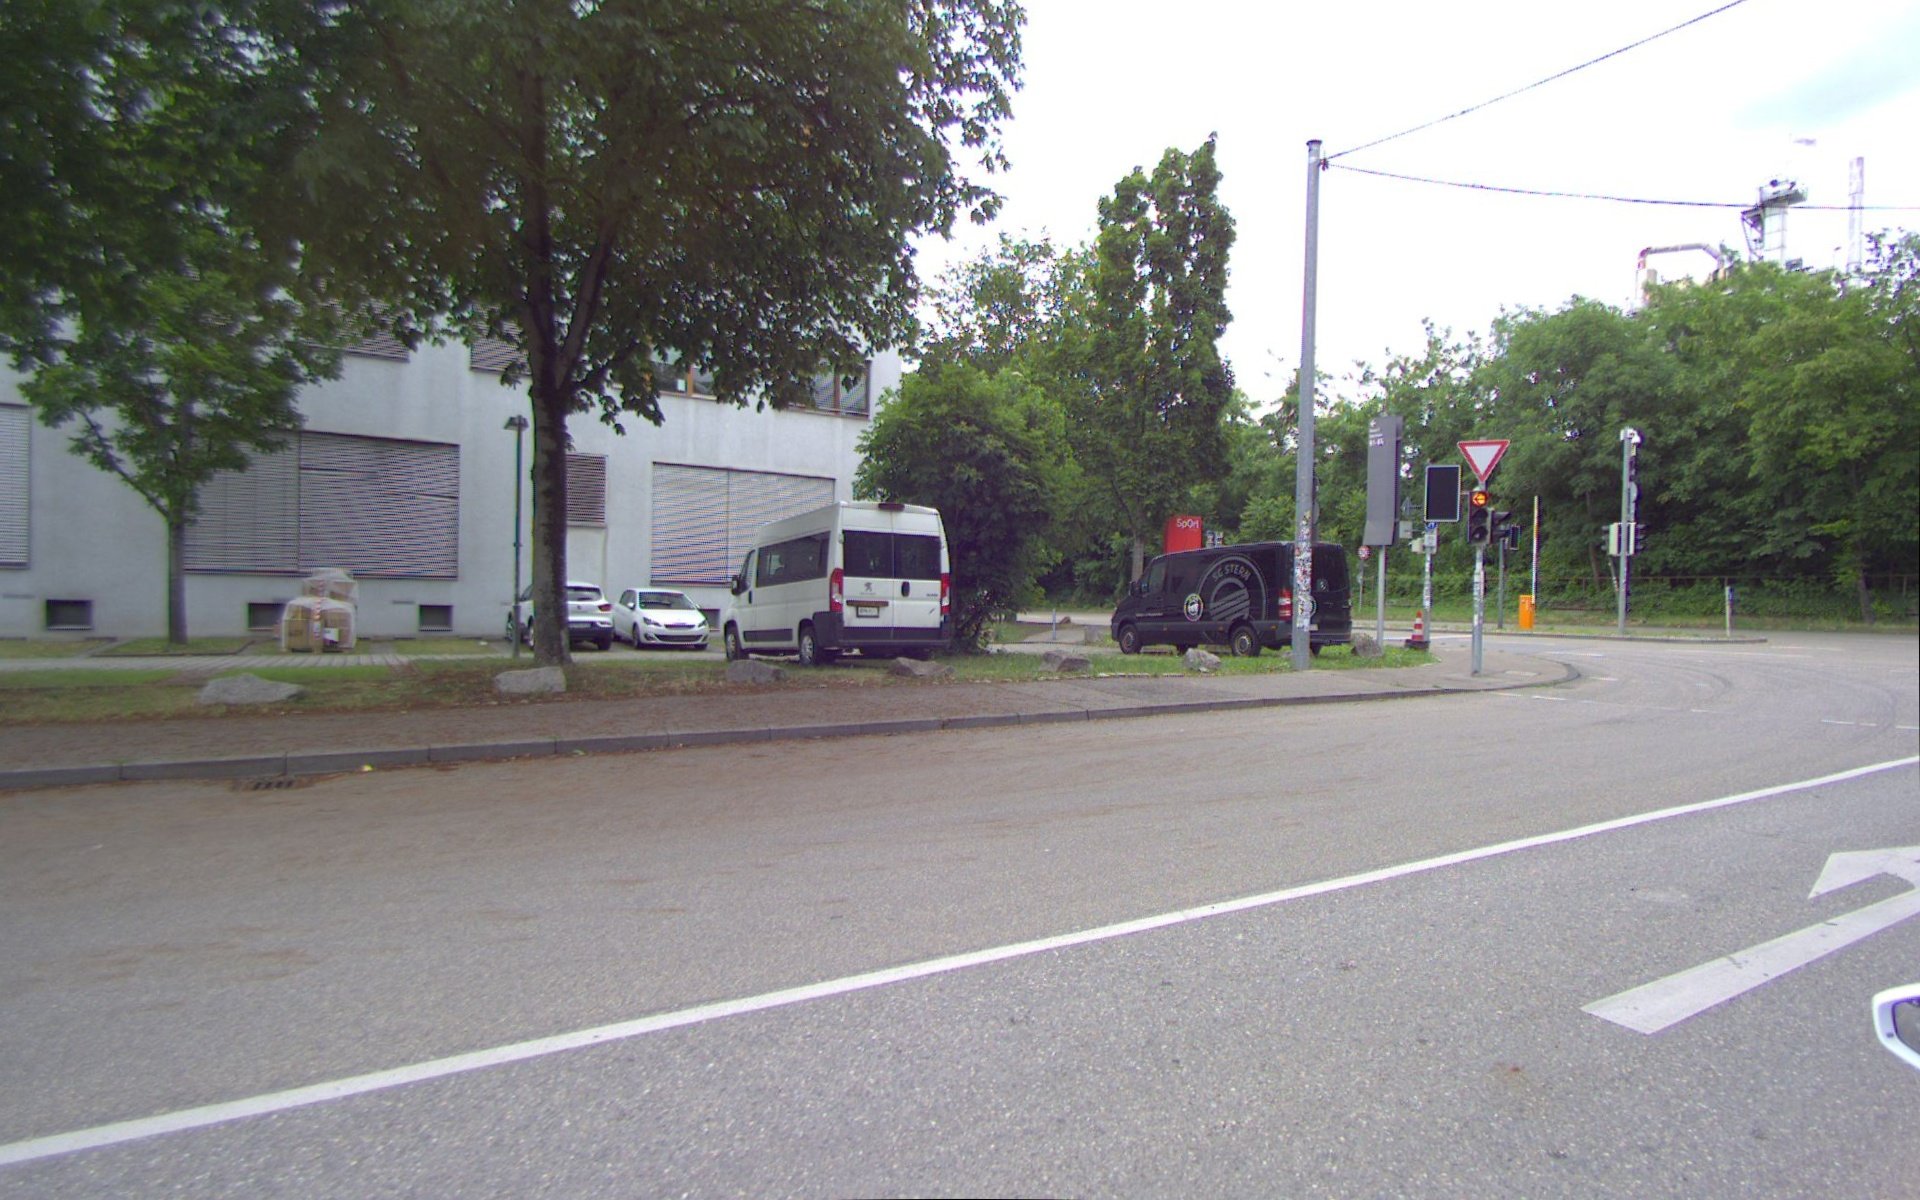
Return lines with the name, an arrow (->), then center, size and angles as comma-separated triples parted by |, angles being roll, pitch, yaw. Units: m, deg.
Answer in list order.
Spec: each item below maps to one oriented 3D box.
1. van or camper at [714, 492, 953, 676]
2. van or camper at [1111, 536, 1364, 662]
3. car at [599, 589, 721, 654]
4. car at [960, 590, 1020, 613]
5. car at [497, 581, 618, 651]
van or camper -> -2.314, -0.246, 16.860 | 2.039, 2.604, 4.943 | 2, 0, -32
van or camper -> 5.749, 0.078, 21.704 | 2.036, 2.344, 5.513 | 2, -3, -28
car -> -7.821, 0.519, 25.982 | 1.881, 1.475, 3.972 | 3, 0, -34
car -> 2.112, 0.089, 71.307 | 1.881, 1.475, 4.644 | 3, 0, -34
car -> -9.853, 0.344, 24.406 | 1.881, 1.475, 3.972 | 3, 0, -34
